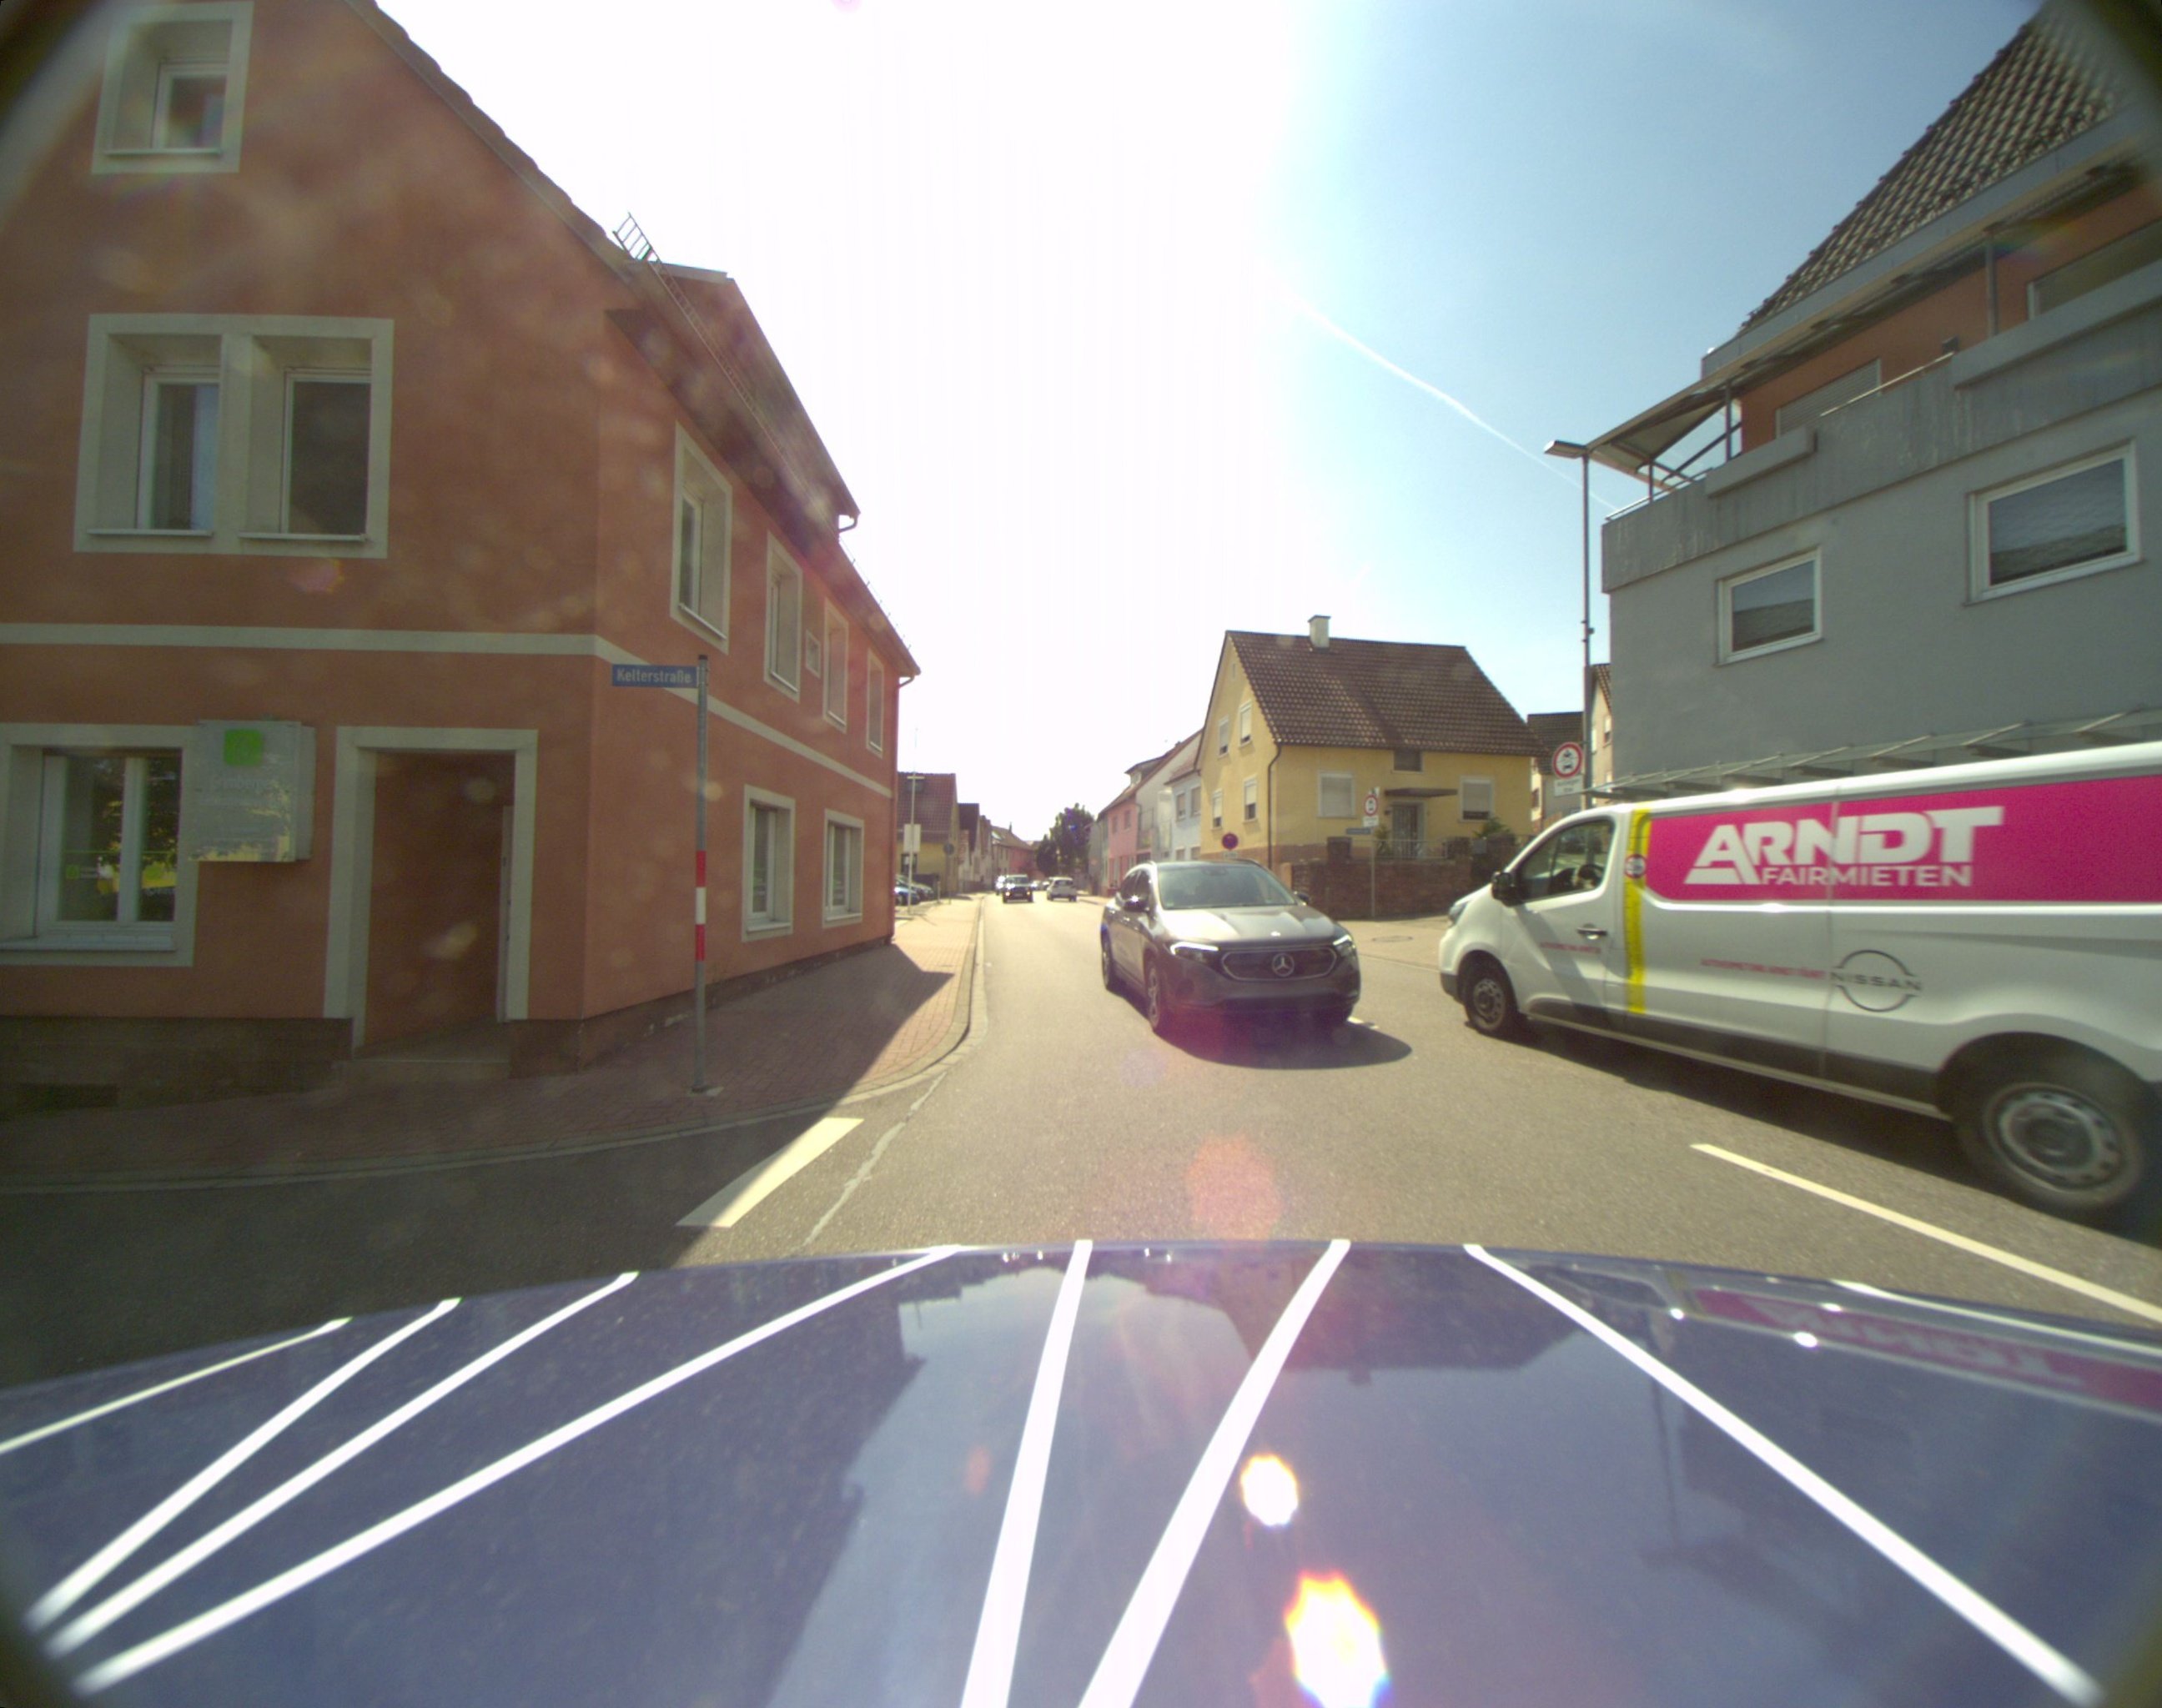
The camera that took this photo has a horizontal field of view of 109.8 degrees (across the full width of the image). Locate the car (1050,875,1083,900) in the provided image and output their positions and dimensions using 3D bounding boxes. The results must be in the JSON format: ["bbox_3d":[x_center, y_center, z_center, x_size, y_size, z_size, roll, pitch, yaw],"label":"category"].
[{"bbox_3d":[-0.953,2.081,47.694,1.734,1.532,3.811,1,-2,-7],"label":"car"}]

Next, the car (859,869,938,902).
[{"bbox_3d":[-11.055,1.921,46.270,4.339,1.736,1.737,-2,1,0],"label":"car"}]

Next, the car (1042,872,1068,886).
[{"bbox_3d":[-3.843,3.739,112.854,1.945,1.841,4.517,-2,-1,23],"label":"car"}]

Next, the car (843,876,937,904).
[{"bbox_3d":[-10.287,1.918,41.131,4.648,1.488,1.910,0,-1,-3],"label":"car"}]

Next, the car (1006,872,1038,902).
[{"bbox_3d":[-3.604,1.939,45.962,1.793,1.642,4.391,0,0,-6],"label":"car"}]

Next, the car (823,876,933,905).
[{"bbox_3d":[-9.260,1.643,34.919,4.551,1.260,1.965,1,-1,-3],"label":"car"}]

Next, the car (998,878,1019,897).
[{"bbox_3d":[-6.468,2.977,67.770,1.781,1.533,4.096,-1,0,-6],"label":"car"}]

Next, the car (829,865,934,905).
[{"bbox_3d":[-9.795,1.515,37.596,4.648,1.799,1.965,-1,0,-3],"label":"car"}]

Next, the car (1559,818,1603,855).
[{"bbox_3d":[24.063,-0.803,36.658,1.569,1.659,3.776,-2,-1,31],"label":"car"}]

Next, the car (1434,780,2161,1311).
[{"bbox_3d":[4.659,0.738,4.635,1.975,1.921,5.311,1,-1,-8],"label":"car"}]

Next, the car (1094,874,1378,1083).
[{"bbox_3d":[1.267,1.022,8.094,1.738,1.563,4.289,-1,-1,-6],"label":"car"}]
